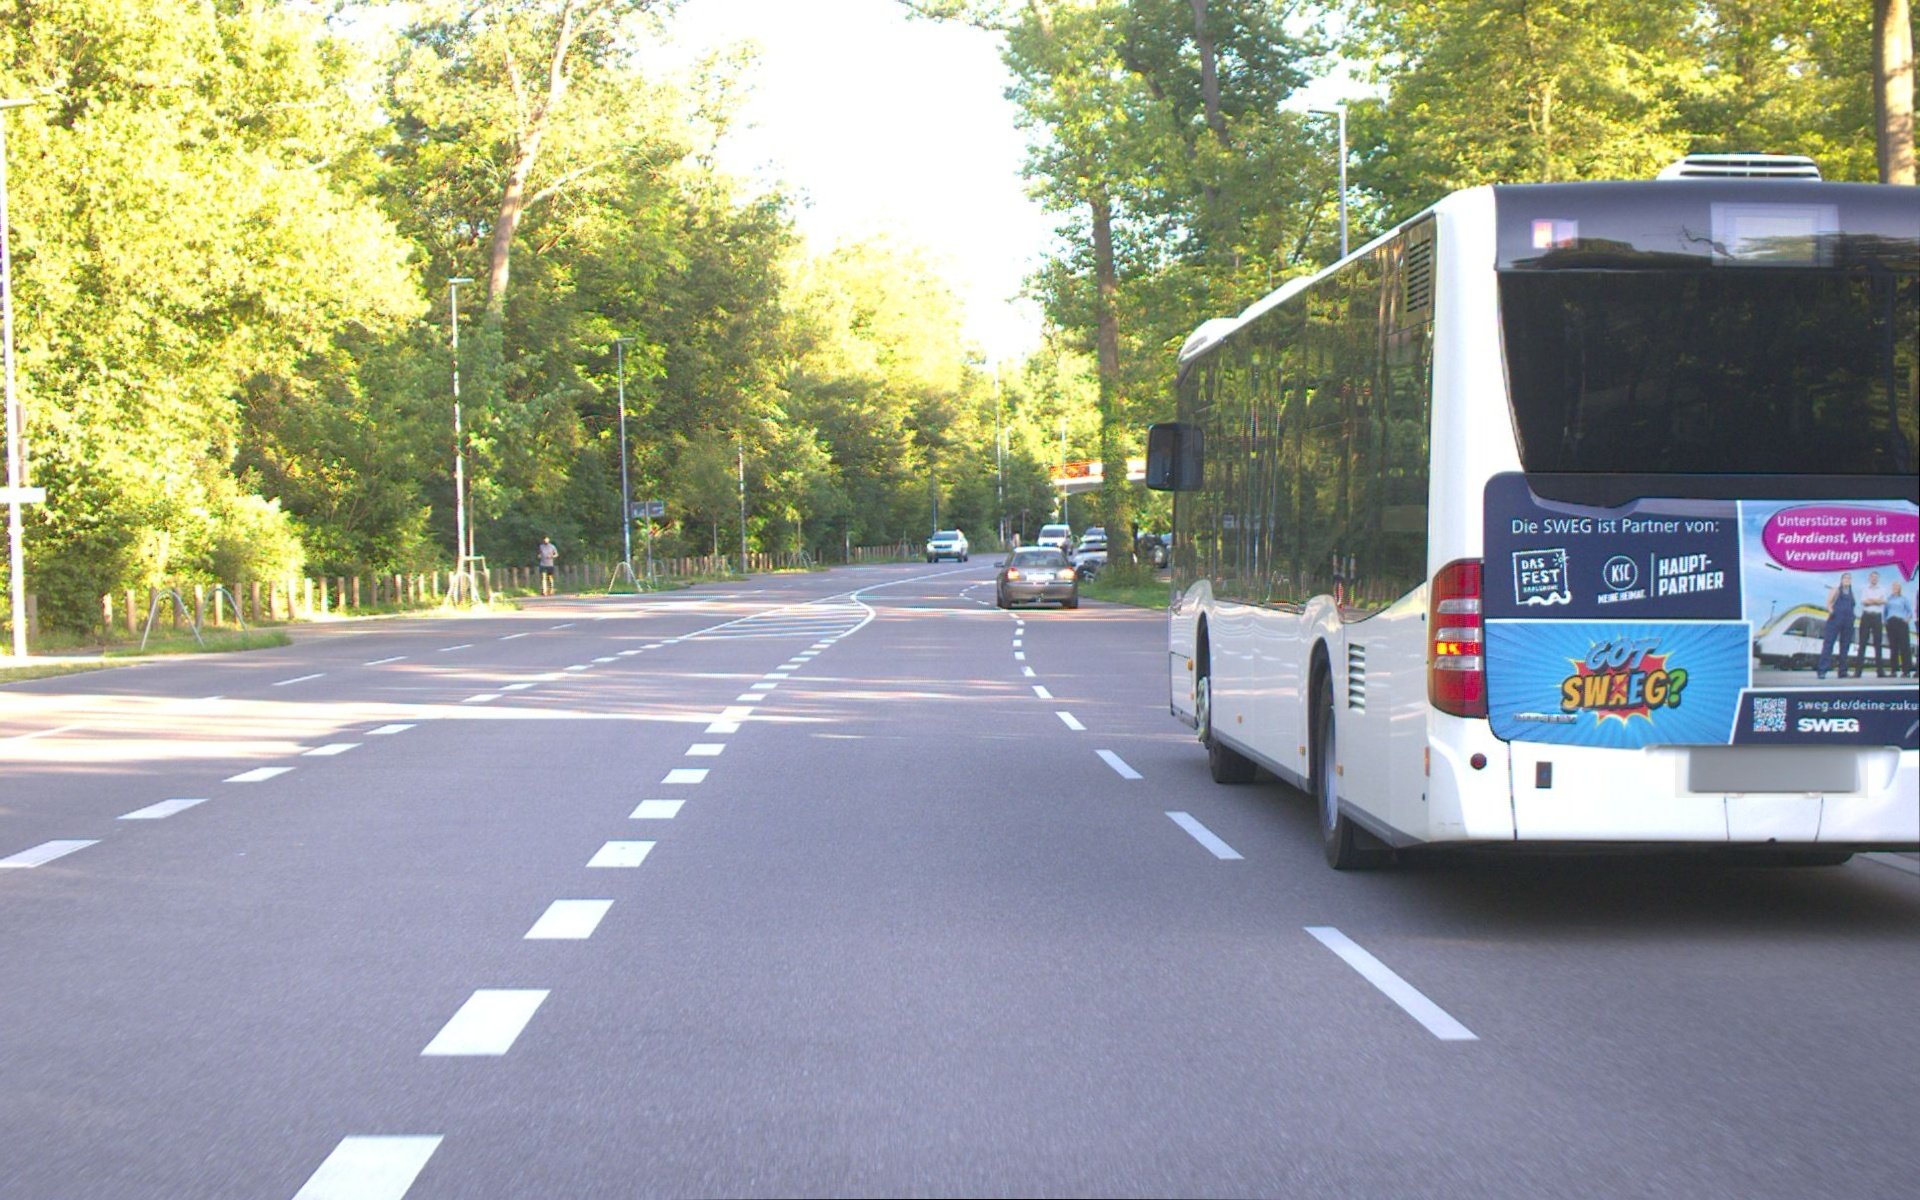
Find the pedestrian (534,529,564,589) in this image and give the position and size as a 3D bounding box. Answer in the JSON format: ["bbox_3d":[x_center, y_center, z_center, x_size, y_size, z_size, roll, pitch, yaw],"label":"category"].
[{"bbox_3d":[-12.493,-1.240,104.498,0.779,1.806,0.770,0,1,0],"label":"pedestrian"}]

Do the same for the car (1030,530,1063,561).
[{"bbox_3d":[5.001,-3.180,199.870,1.863,1.723,4.000,-1,1,1],"label":"car"}]

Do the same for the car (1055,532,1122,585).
[{"bbox_3d":[4.093,-1.306,109.211,1.632,1.653,4.130,0,1,9],"label":"car"}]

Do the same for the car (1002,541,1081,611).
[{"bbox_3d":[1.890,-0.554,78.349,1.632,1.542,4.131,0,1,4],"label":"car"}]

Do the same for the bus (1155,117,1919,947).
[{"bbox_3d":[2.835,-0.307,18.604,2.689,3.032,12.042,0,1,-1],"label":"bus"}]

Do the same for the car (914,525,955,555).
[{"bbox_3d":[-1.304,-3.092,177.902,1.863,1.532,4.131,0,1,4],"label":"car"}]
